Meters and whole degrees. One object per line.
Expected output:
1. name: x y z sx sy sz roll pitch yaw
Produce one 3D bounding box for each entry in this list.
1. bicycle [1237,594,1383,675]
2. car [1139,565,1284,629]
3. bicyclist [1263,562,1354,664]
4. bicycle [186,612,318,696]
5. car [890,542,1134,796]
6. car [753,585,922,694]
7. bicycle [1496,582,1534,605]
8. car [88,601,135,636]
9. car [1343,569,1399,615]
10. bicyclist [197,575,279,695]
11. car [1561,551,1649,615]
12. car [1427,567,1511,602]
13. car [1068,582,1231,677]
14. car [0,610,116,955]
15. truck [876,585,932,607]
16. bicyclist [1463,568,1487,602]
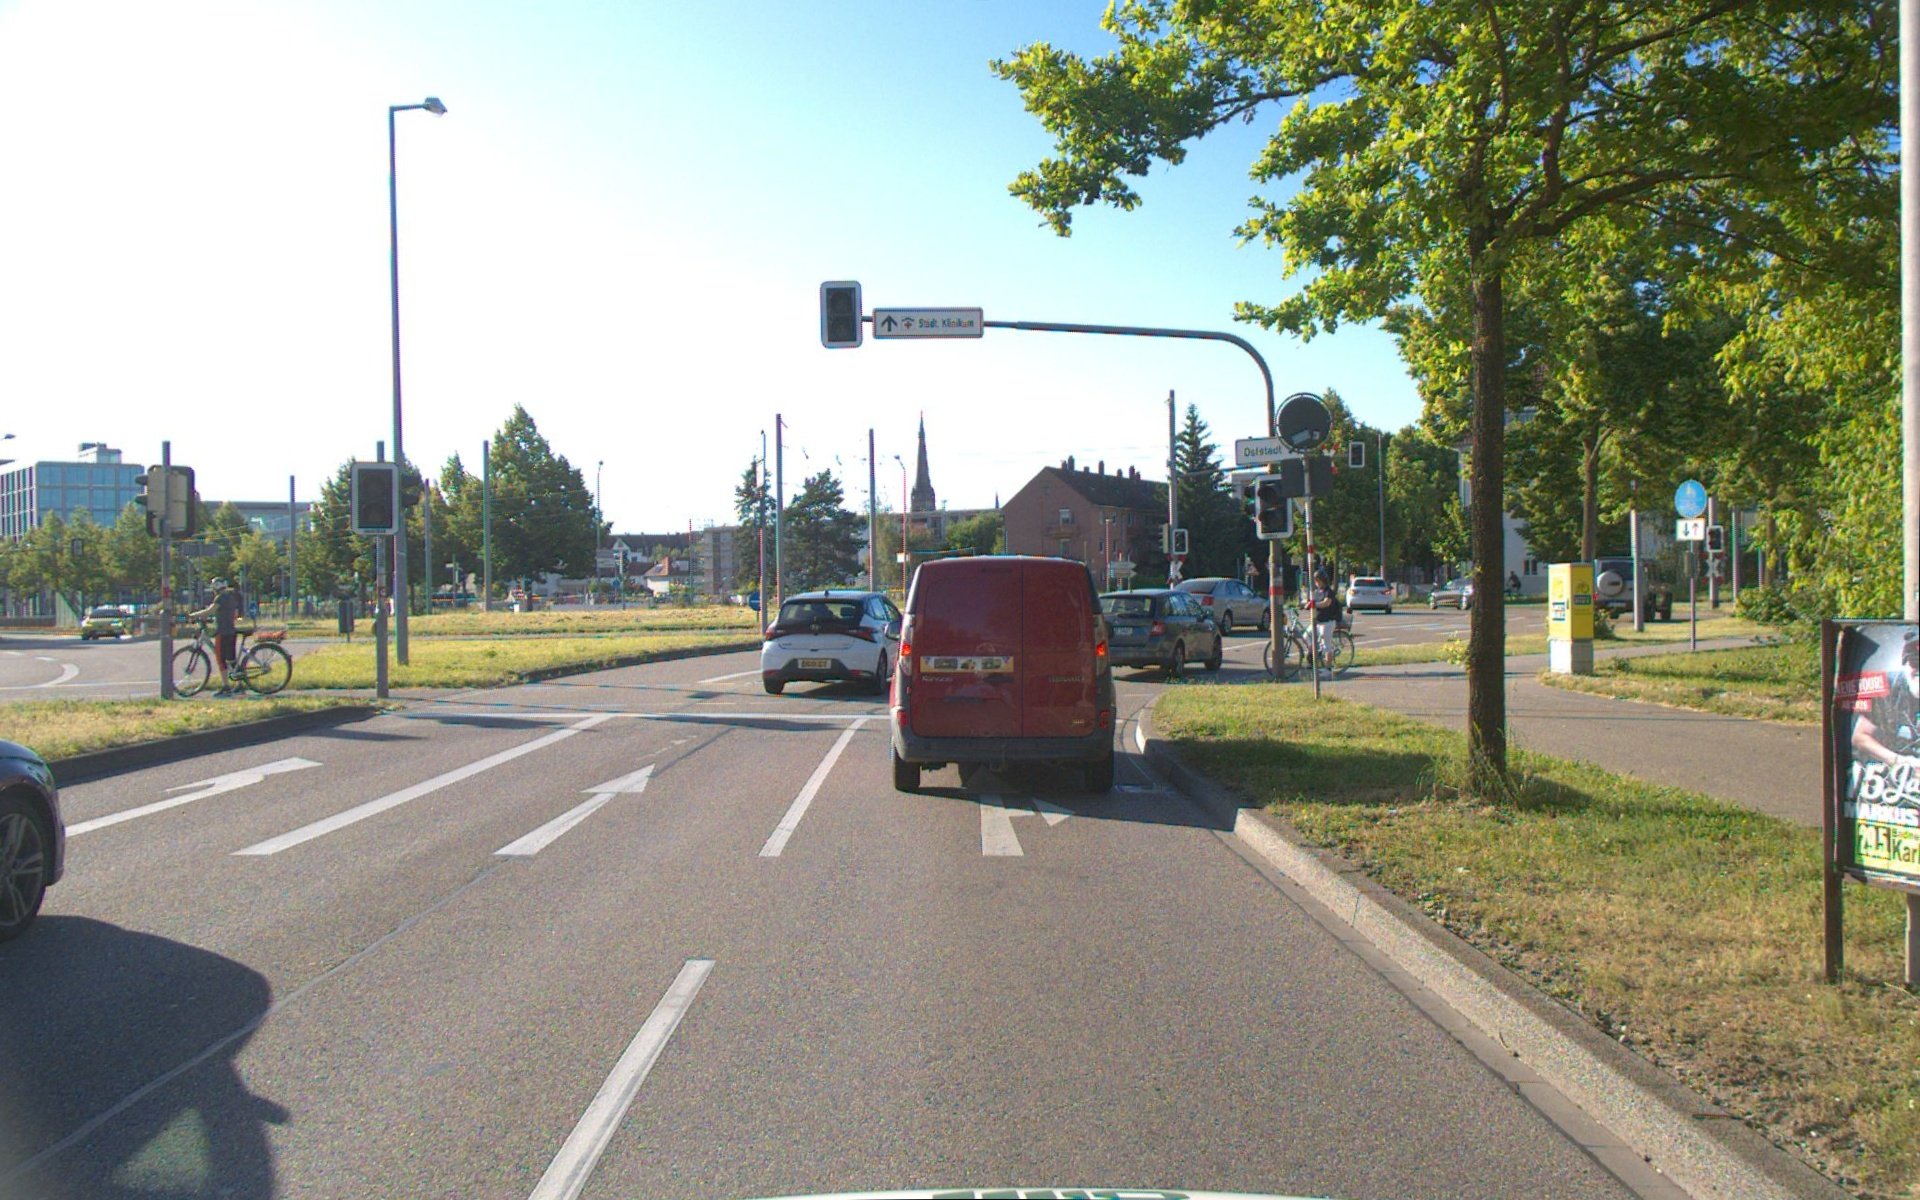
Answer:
1. bicycle: 5.644 0.546 26.662 2.181 1.175 0.870 -2 -1 -24
2. car: 6.856 -0.114 44.707 1.962 1.602 4.388 -1 1 38
3. bicyclist: 5.613 0.211 26.652 1.070 1.589 0.870 -2 -1 -24
4. bicycle: -10.170 0.766 23.801 1.620 1.148 0.702 -1 -1 -10
5. car: 0.395 0.502 13.980 1.765 1.845 3.809 0 0 0
6. car: -1.740 0.544 24.773 1.764 1.487 3.812 0 0 8
7. bicycle: 30.838 -0.353 91.998 0.804 1.288 2.195 1 -1 -21
8. car: -41.210 0.884 80.395 1.979 1.568 4.287 -1 0 -27
9. car: 16.058 -0.345 64.481 1.951 1.667 4.411 -1 1 16
10. bicyclist: -10.365 0.495 23.758 0.923 1.692 0.702 -1 -1 -10
11. car: 20.431 -0.503 52.558 1.954 1.930 4.756 -1 0 14
12. car: 24.205 -0.755 78.801 1.958 1.566 4.396 -1 1 -11
13. car: 3.366 0.448 28.733 1.679 1.461 4.151 1 1 23
14. car: -4.816 0.760 5.487 1.724 1.404 4.359 -1 0 1
15. truck: -5.604 -0.385 163.651 2.150 2.049 6.345 1 -1 -39
16. bicyclist: 29.630 -0.852 95.150 0.874 1.885 1.014 1 -1 -33
